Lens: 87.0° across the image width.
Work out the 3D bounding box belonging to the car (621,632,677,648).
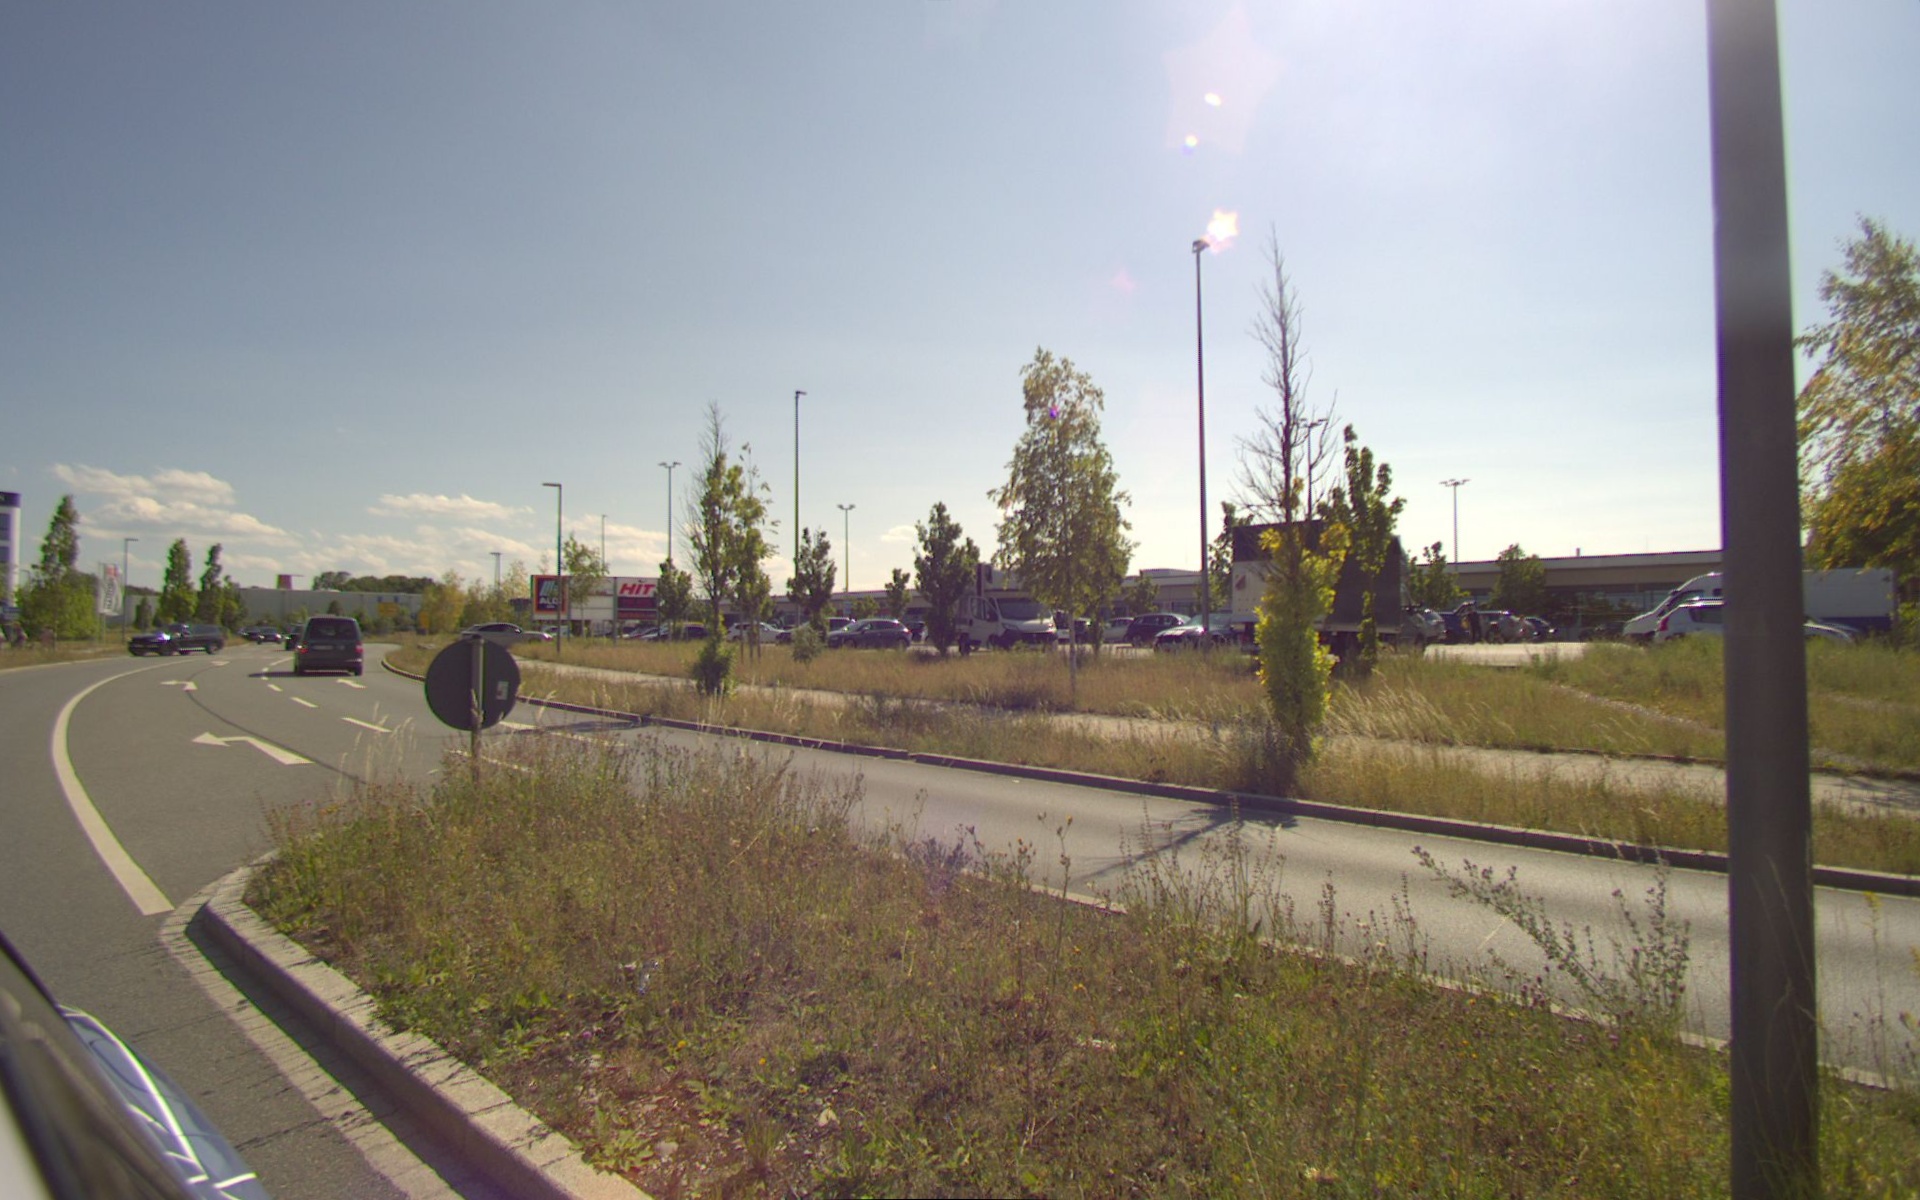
[{"bbox_3d":[-25.650,3.305,83.557,4.086,1.358,1.942,1,-3,-29],"label":"car"}]

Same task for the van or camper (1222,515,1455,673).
[{"bbox_3d":[9.886,-0.031,25.904,7.602,3.495,2.557,2,-3,-44],"label":"van or camper"}]

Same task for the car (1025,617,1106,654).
[{"bbox_3d":[5.949,1.986,57.516,4.381,2.013,1.812,-2,-2,42],"label":"car"}]

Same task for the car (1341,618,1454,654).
[{"bbox_3d":[19.727,1.606,45.743,4.378,1.574,1.814,-1,-2,40],"label":"car"}]

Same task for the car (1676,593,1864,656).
[{"bbox_3d":[23.176,0.725,29.115,4.079,1.683,1.644,-1,-2,39],"label":"car"}]

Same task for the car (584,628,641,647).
[{"bbox_3d":[-32.215,3.478,93.869,4.703,1.685,1.887,2,-3,-35],"label":"car"}]

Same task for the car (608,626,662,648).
[{"bbox_3d":[-28.169,3.233,87.753,4.086,1.875,1.938,1,-3,-31],"label":"car"}]

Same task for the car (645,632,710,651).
[{"bbox_3d":[-19.901,2.921,71.392,4.086,1.358,1.942,1,-3,-29],"label":"car"}]

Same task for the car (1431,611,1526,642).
[{"bbox_3d":[28.447,1.472,55.587,4.378,1.625,1.814,-1,-2,40],"label":"car"}]

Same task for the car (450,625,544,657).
[{"bbox_3d":[-26.036,2.307,57.093,4.694,1.656,2.122,0,-3,-21],"label":"car"}]

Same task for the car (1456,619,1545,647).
[{"bbox_3d":[31.696,1.911,59.402,4.378,1.584,1.814,-1,-2,40],"label":"car"}]

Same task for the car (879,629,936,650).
[{"bbox_3d":[-4.027,2.999,76.816,4.352,1.593,1.694,-2,-3,41],"label":"car"}]

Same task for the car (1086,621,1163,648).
[{"bbox_3d":[9.968,2.098,61.448,4.381,1.594,1.812,-2,-2,42],"label":"car"}]

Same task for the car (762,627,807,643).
[{"bbox_3d":[-15.792,3.132,90.932,4.352,1.428,1.694,-2,-3,41],"label":"car"}]

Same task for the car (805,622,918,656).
[{"bbox_3d":[-4.160,1.633,42.868,4.364,1.394,1.980,1,-2,-34],"label":"car"}]

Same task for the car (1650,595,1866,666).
[{"bbox_3d":[19.668,0.767,25.122,4.079,1.627,1.644,-1,-2,39],"label":"car"}]

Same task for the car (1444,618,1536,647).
[{"bbox_3d":[30.269,1.867,57.812,4.378,1.604,1.814,-1,-2,40],"label":"car"}]

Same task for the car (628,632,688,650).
[{"bbox_3d":[-22.851,3.091,76.600,4.086,1.358,1.942,1,-3,-29],"label":"car"}]

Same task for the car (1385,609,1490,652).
[{"bbox_3d":[23.350,1.475,49.566,4.378,2.009,1.814,-1,-2,40],"label":"car"}]

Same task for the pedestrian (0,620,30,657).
[{"bbox_3d":[-42.982,1.732,46.020,0.789,1.642,0.807,0,-2,-28],"label":"pedestrian"}]

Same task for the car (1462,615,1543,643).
[{"bbox_3d":[34.037,1.840,63.570,4.218,1.698,1.784,-2,-2,41],"label":"car"}]

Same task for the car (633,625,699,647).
[{"bbox_3d":[-27.470,3.388,94.763,5.607,1.980,2.004,2,-3,-37],"label":"car"}]

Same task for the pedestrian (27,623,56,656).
[{"bbox_3d":[-42.833,1.841,47.206,0.781,1.481,0.952,0,-2,-28],"label":"pedestrian"}]

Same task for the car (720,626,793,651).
[{"bbox_3d":[-12.708,2.412,63.343,4.169,1.559,1.916,0,-2,2],"label":"car"}]

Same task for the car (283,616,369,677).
[{"bbox_3d":[-20.313,1.506,32.360,1.925,1.808,4.436,3,-4,-36],"label":"car"}]

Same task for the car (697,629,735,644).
[{"bbox_3d":[-25.690,3.840,106.541,4.350,1.538,1.694,-2,-3,40],"label":"car"}]

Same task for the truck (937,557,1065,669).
[{"bbox_3d":[1.228,0.514,35.543,2.285,3.491,7.515,0,-2,-16],"label":"truck"}]

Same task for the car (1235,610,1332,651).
[{"bbox_3d":[16.462,1.574,51.632,4.381,2.009,1.812,-2,-2,42],"label":"car"}]

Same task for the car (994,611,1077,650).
[{"bbox_3d":[4.132,1.683,55.882,4.381,2.080,1.812,-2,-2,42],"label":"car"}]

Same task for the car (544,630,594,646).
[{"bbox_3d":[-41.197,4.027,106.714,4.529,1.685,2.004,2,-3,-37],"label":"car"}]

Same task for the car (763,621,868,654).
[{"bbox_3d":[-6.746,1.743,47.514,4.514,1.469,1.843,1,-2,-34],"label":"car"}]

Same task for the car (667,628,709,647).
[{"bbox_3d":[-38.263,5.297,142.581,1.938,2.608,5.644,-2,-3,39],"label":"car"}]

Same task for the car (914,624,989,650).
[{"bbox_3d":[-0.542,2.190,60.047,4.381,1.523,1.812,-2,-2,42],"label":"car"}]

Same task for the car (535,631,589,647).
[{"bbox_3d":[-43.732,4.259,111.315,5.117,1.685,2.002,2,-3,-42],"label":"car"}]

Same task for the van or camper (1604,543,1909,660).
[{"bbox_3d":[24.612,0.138,31.667,7.231,3.296,2.404,-2,-2,41],"label":"van or camper"}]

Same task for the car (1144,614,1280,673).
[{"bbox_3d":[7.304,1.213,29.080,1.839,1.564,4.317,-2,-3,45],"label":"car"}]

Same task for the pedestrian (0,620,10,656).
[{"bbox_3d":[-43.963,1.740,46.096,0.797,1.641,0.869,0,-2,-28],"label":"pedestrian"}]

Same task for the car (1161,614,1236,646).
[{"bbox_3d":[16.078,2.032,68.288,4.633,2.040,1.812,-2,-2,42],"label":"car"}]

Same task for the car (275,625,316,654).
[{"bbox_3d":[-40.495,2.438,61.739,1.727,1.700,4.394,1,-3,-29],"label":"car"}]

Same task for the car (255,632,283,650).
[{"bbox_3d":[-60.314,3.526,88.382,1.757,1.505,4.011,1,-2,-31],"label":"car"}]

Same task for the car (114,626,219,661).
[{"bbox_3d":[-41.205,2.257,52.697,1.876,1.692,4.463,-2,-3,2],"label":"car"}]
